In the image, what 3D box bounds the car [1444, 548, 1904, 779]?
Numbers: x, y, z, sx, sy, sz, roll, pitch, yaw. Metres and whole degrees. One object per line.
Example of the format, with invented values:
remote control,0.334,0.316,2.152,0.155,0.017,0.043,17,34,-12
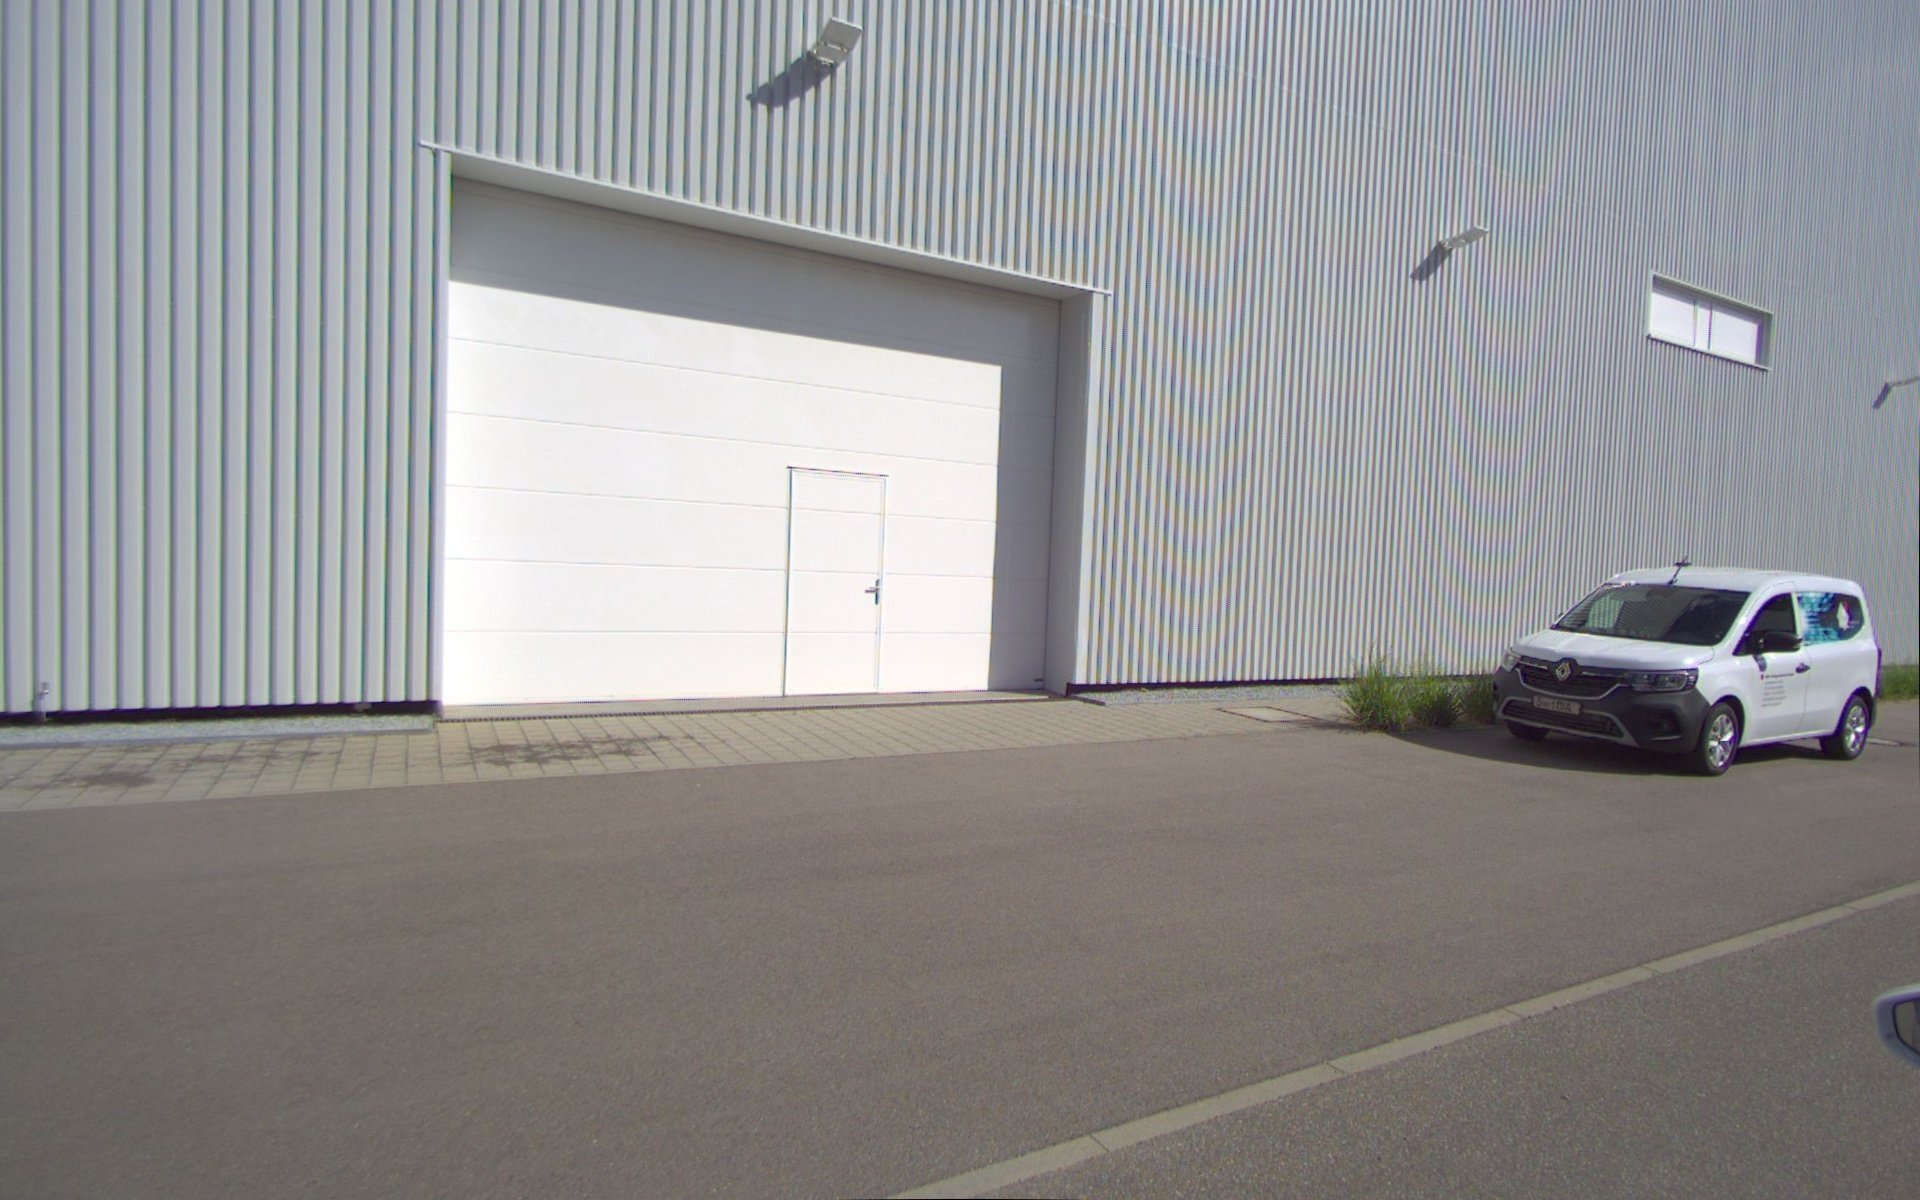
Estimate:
car,7.180,0.517,10.022,4.543,1.814,1.919,1,3,-30
